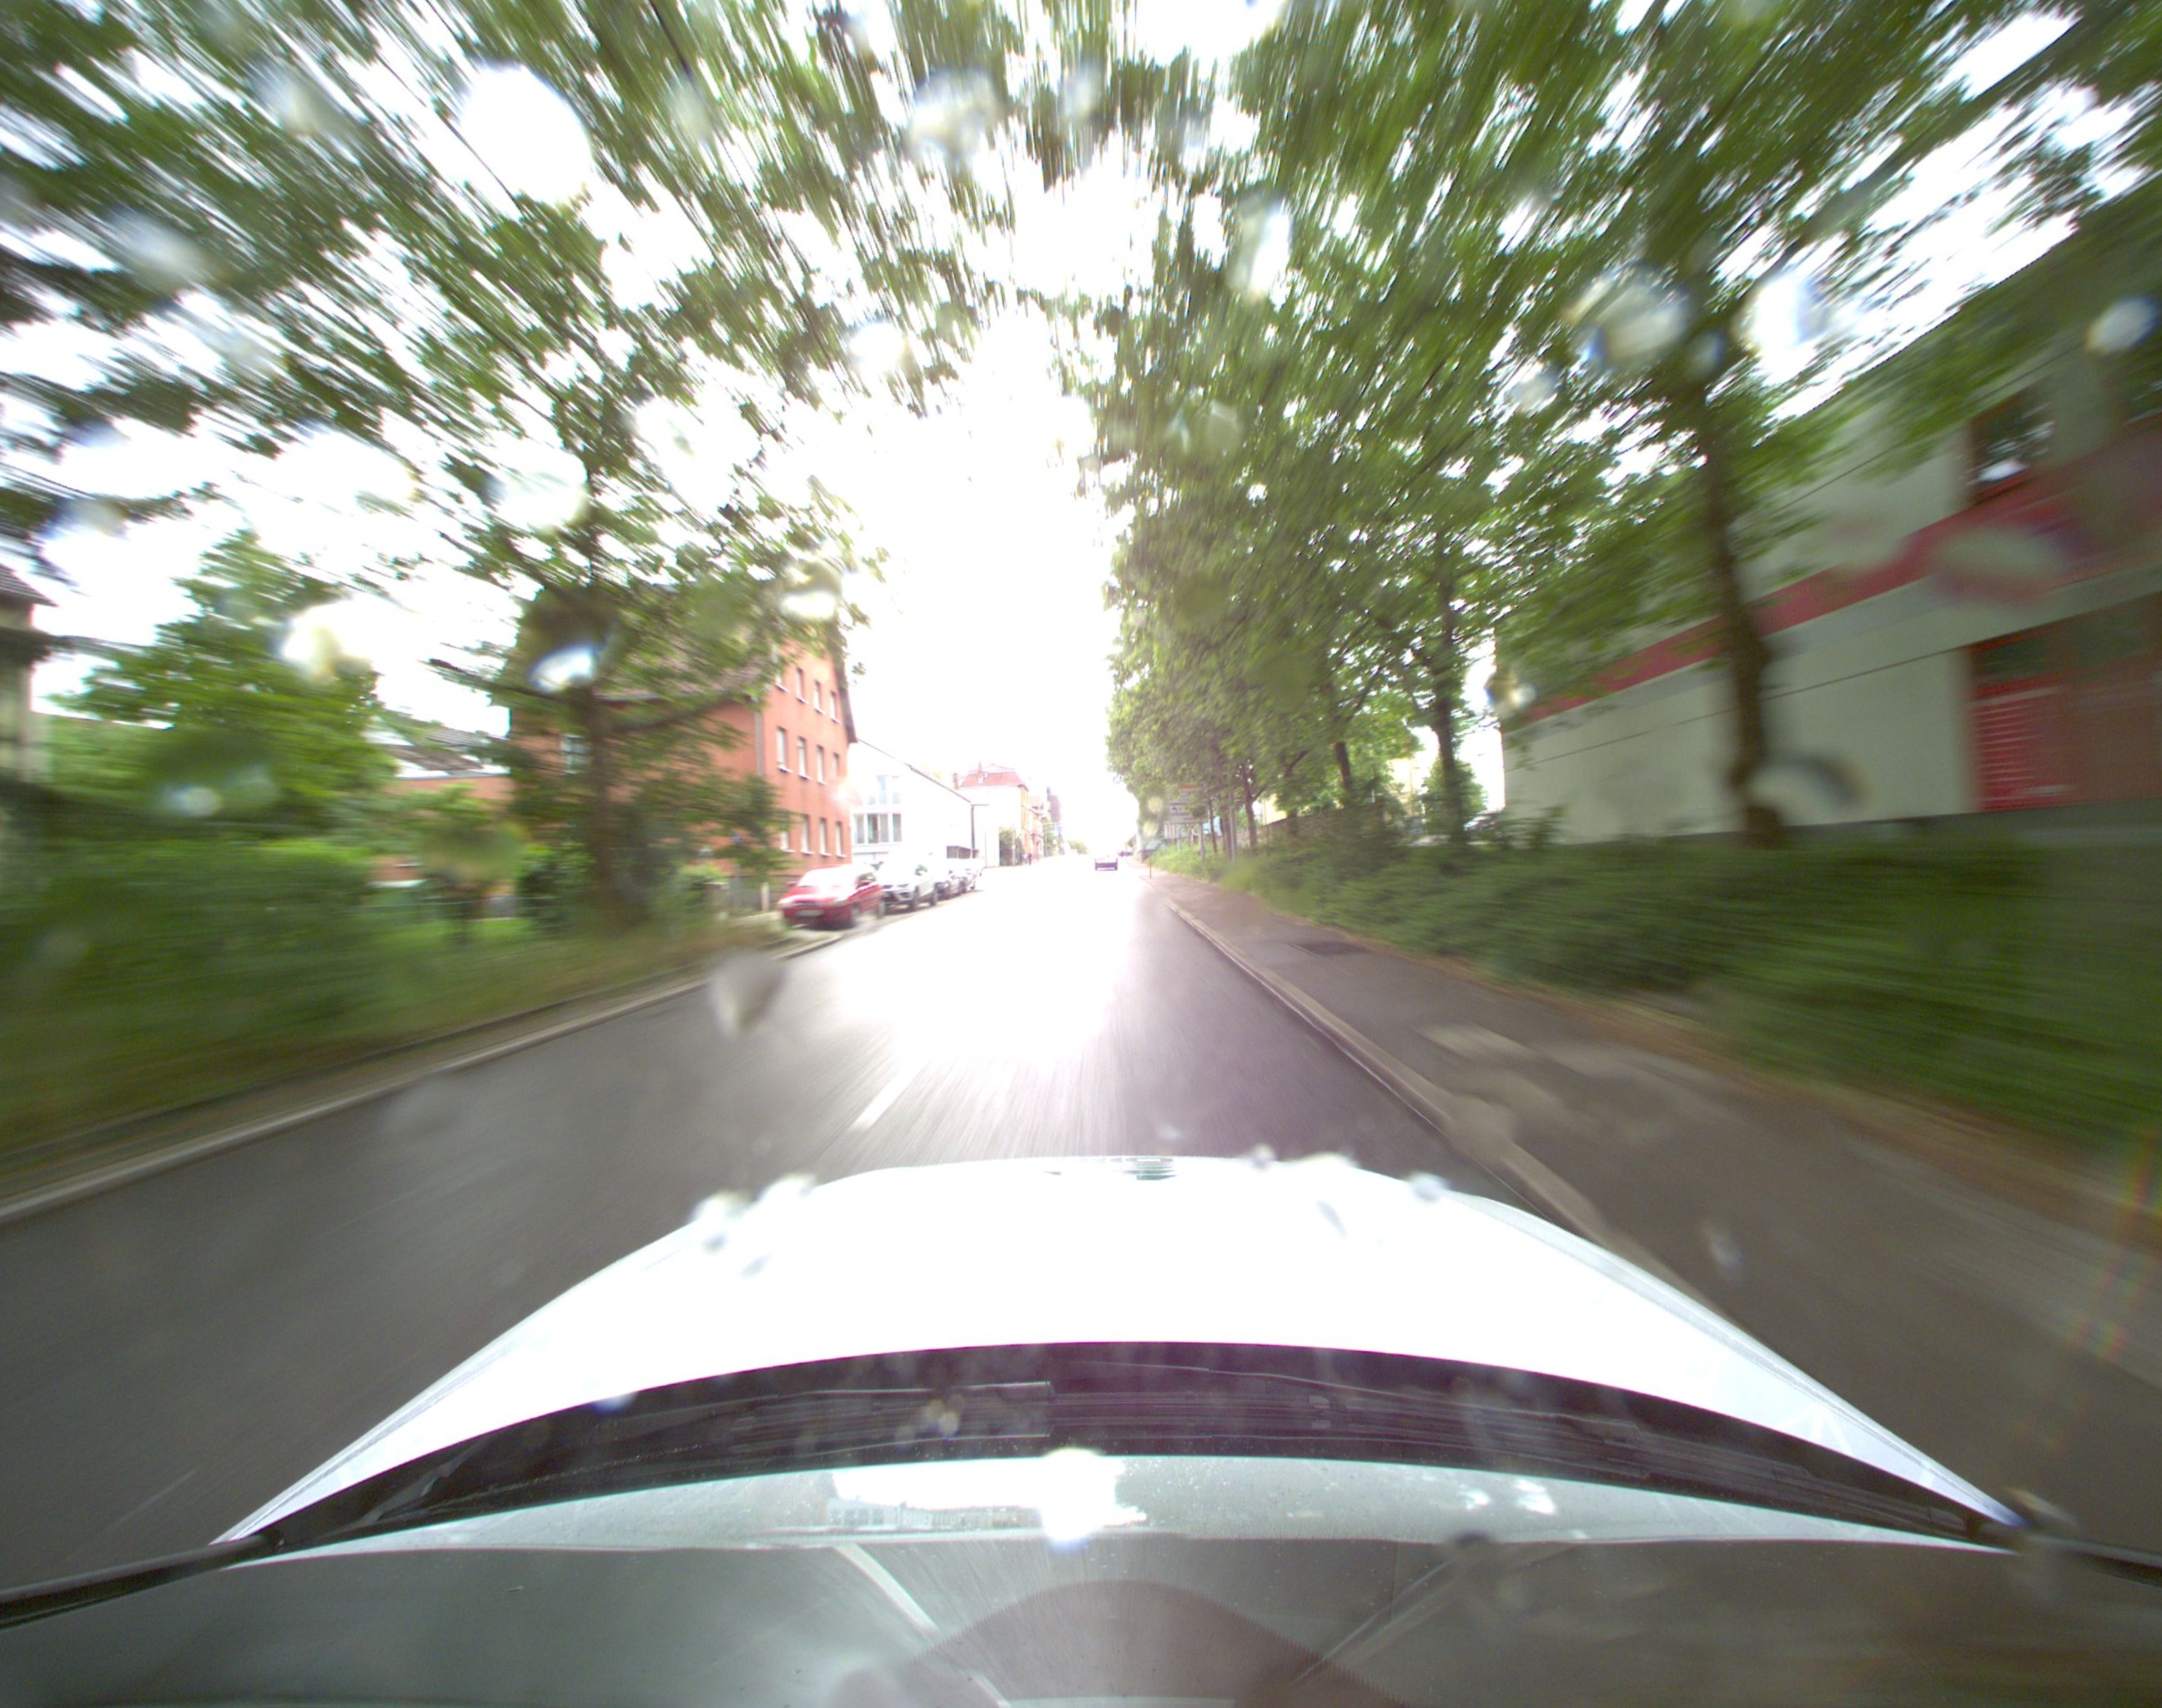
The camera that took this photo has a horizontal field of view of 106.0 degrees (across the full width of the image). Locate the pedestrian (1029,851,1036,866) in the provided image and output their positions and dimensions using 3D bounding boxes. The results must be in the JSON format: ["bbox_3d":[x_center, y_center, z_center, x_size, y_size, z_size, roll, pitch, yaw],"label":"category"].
[{"bbox_3d":[-6.522,0.632,109.238,0.668,2.013,0.943,-2,0,6],"label":"pedestrian"}]

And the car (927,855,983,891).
[{"bbox_3d":[-5.498,0.803,35.938,1.628,1.482,4.360,0,0,2],"label":"car"}]

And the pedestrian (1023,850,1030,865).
[{"bbox_3d":[-7.301,0.476,109.279,0.668,2.013,0.943,-2,0,6],"label":"pedestrian"}]

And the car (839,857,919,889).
[{"bbox_3d":[-11.977,1.110,48.478,4.131,1.697,2.003,-3,0,4],"label":"car"}]

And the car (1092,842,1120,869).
[{"bbox_3d":[2.223,0.169,72.052,2.327,2.231,4.002,-3,-2,2],"label":"car"}]

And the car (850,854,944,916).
[{"bbox_3d":[-5.478,0.860,24.798,1.684,1.542,4.119,-5,1,2],"label":"car"}]

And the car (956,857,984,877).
[{"bbox_3d":[-9.193,1.078,67.770,1.662,1.530,4.095,-3,0,0],"label":"car"}]

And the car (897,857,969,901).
[{"bbox_3d":[-5.518,0.893,30.909,1.737,1.482,4.387,-2,0,2],"label":"car"}]

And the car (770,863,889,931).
[{"bbox_3d":[-5.861,0.947,19.399,1.633,1.373,3.758,-2,0,0],"label":"car"}]

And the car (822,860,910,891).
[{"bbox_3d":[-12.040,1.177,45.779,4.273,1.463,2.069,-3,0,1],"label":"car"}]
